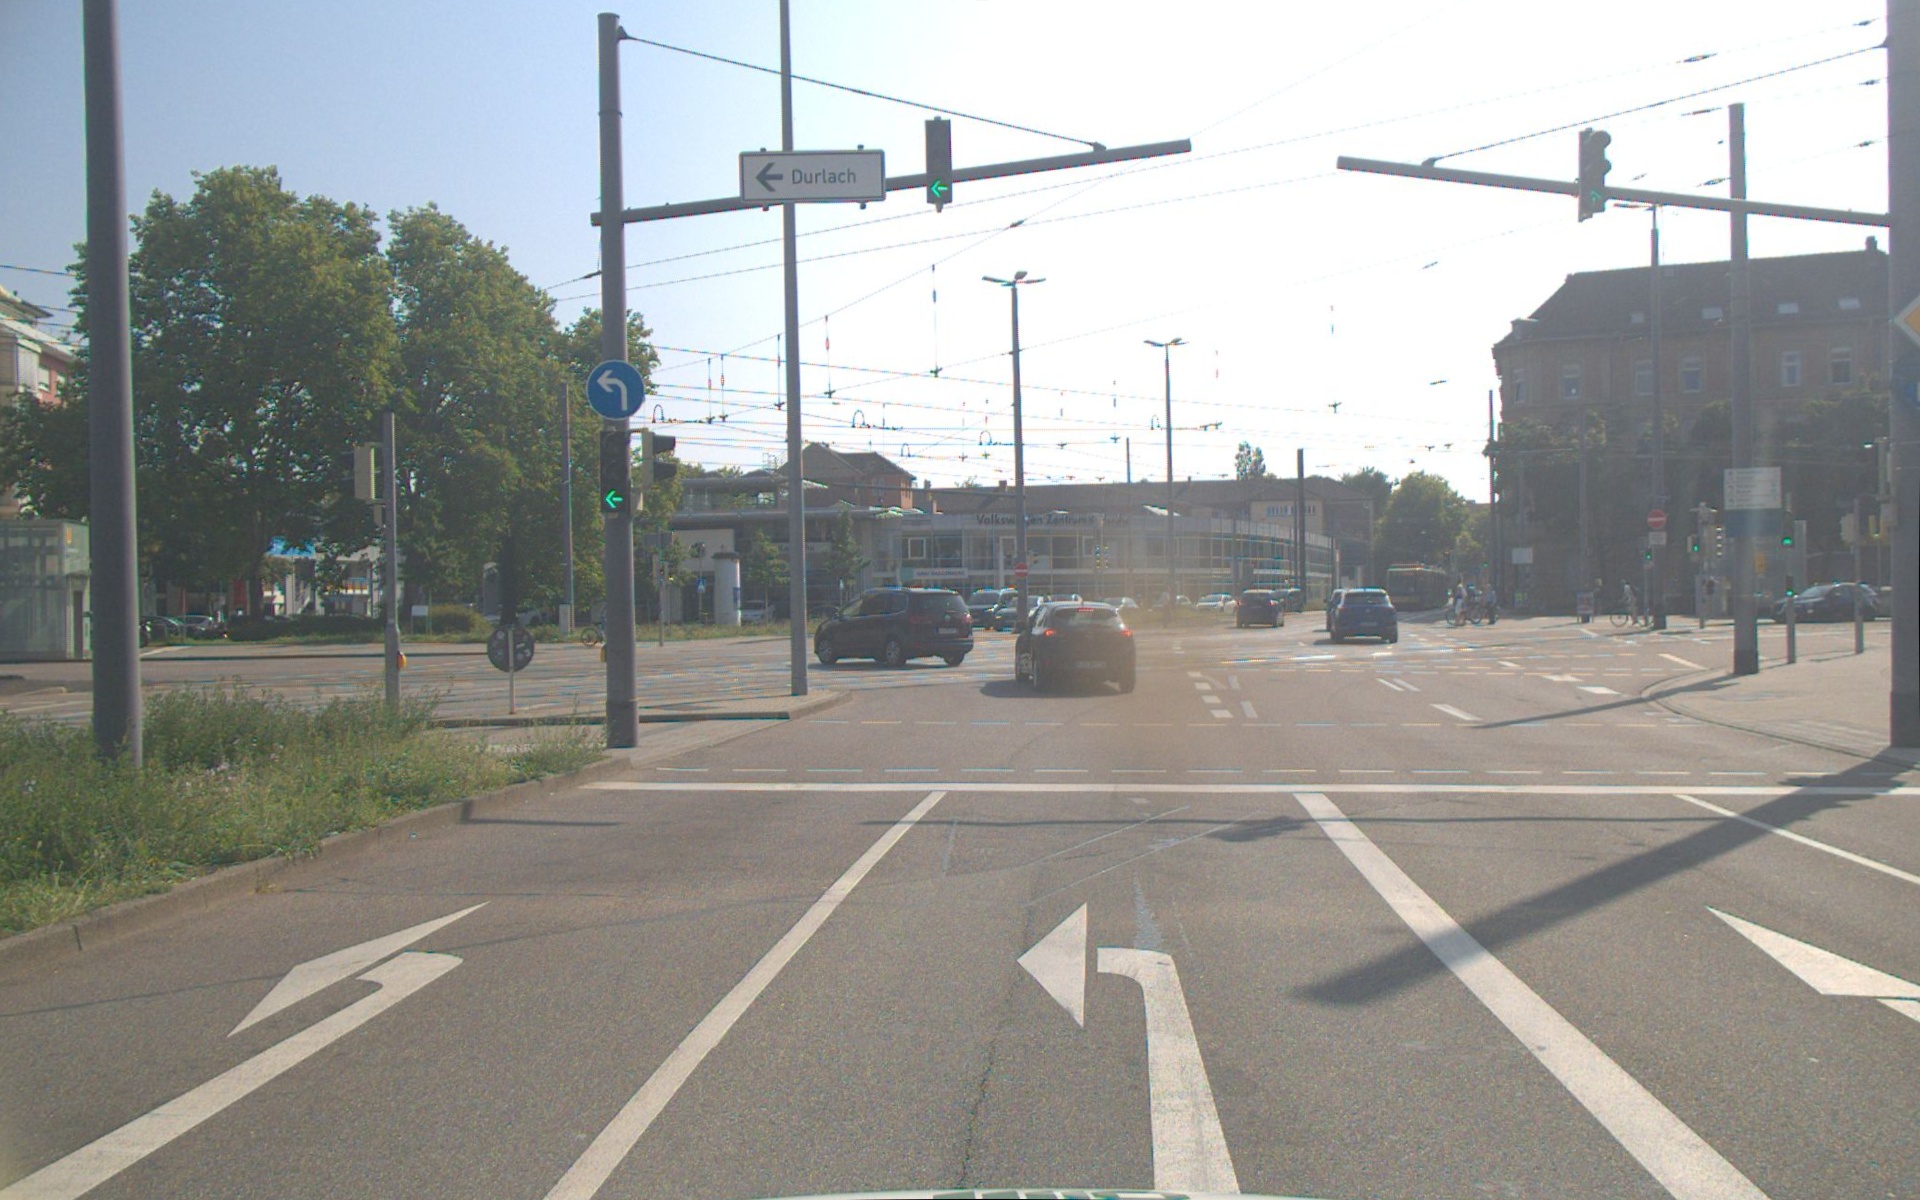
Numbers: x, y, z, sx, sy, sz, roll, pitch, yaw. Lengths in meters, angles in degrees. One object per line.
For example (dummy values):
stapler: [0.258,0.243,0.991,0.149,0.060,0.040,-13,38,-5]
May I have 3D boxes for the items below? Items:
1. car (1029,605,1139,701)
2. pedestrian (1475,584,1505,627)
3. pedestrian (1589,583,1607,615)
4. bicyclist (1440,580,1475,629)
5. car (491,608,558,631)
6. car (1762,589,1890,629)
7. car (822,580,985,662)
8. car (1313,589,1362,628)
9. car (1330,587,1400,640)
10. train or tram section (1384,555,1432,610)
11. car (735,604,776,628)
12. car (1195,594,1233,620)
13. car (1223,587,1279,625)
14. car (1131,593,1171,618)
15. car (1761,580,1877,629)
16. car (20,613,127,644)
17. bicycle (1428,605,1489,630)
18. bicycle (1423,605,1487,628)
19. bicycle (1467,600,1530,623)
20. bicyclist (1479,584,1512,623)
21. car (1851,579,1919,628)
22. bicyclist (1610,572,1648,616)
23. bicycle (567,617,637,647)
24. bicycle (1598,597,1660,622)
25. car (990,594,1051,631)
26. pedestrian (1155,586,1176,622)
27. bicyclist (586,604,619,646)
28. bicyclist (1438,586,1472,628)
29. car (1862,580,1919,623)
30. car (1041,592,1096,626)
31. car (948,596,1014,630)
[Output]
car: [2.085,0.869,28.723,1.648,1.518,4.373,1,0,1]
pedestrian: [22.966,0.236,71.635,0.918,1.828,0.848,-1,0,-37]
pedestrian: [30.117,-0.054,78.042,0.662,1.496,0.538,-1,0,-40]
bicyclist: [21.202,0.179,70.507,0.925,2.059,1.080,-1,0,-33]
car: [-30.164,1.342,114.593,1.670,1.549,4.499,-1,0,35]
car: [32.073,0.325,61.260,4.316,1.421,2.008,-1,0,-24]
car: [-1.362,0.449,37.908,1.808,1.744,4.363,-1,0,-32]
car: [15.022,0.318,65.679,1.786,1.453,4.416,-1,0,14]
car: [11.994,0.361,49.172,1.786,1.453,4.416,-1,0,11]
train or tram section: [32.679,-1.297,120.319,2.599,3.763,10.593,-1,0,19]
car: [-13.749,1.072,111.289,1.663,1.549,4.103,-1,0,8]
car: [15.892,0.441,103.397,1.581,1.501,4.001,-3,-1,20]
car: [12.728,0.232,72.202,1.787,1.562,4.415,-1,0,18]
car: [11.923,0.327,103.125,1.581,1.501,4.001,-3,-1,20]
car: [34.006,0.165,65.467,4.181,1.891,1.896,-1,0,-24]
car: [-41.253,1.325,77.058,4.087,1.378,1.572,-1,0,-15]
bicycle: [21.250,0.732,70.527,2.595,0.981,1.080,-1,0,-34]
bicycle: [21.791,0.720,72.771,2.580,0.981,1.087,-1,0,-20]
bicycle: [24.157,0.522,74.181,2.580,0.981,1.087,-1,0,-20]
bicyclist: [23.973,0.152,74.108,0.920,1.709,1.087,-1,0,-20]
car: [38.697,0.122,67.212,4.628,1.891,1.897,-1,0,-22]
bicyclist: [27.185,-0.236,67.182,0.925,1.738,1.080,-1,0,-33]
bicycle: [-13.516,1.194,62.542,2.553,1.075,0.958,-1,-1,-11]
bicycle: [27.171,0.377,67.169,2.595,0.981,1.080,-1,0,-34]
car: [2.694,0.518,72.881,1.580,1.501,4.001,-3,-1,19]
pedestrian: [8.865,0.179,71.319,0.761,1.529,0.711,-1,0,15]
bicyclist: [-13.507,0.936,62.551,1.141,1.554,0.958,-1,0,-10]
bicyclist: [21.770,0.291,72.764,0.920,1.831,1.087,-1,0,-20]
car: [42.989,0.039,74.291,4.188,1.891,1.924,-1,0,-14]
car: [5.222,0.416,79.264,1.580,1.501,4.001,-3,-1,19]
car: [1.029,0.592,78.225,1.919,1.501,4.001,-3,-1,19]
